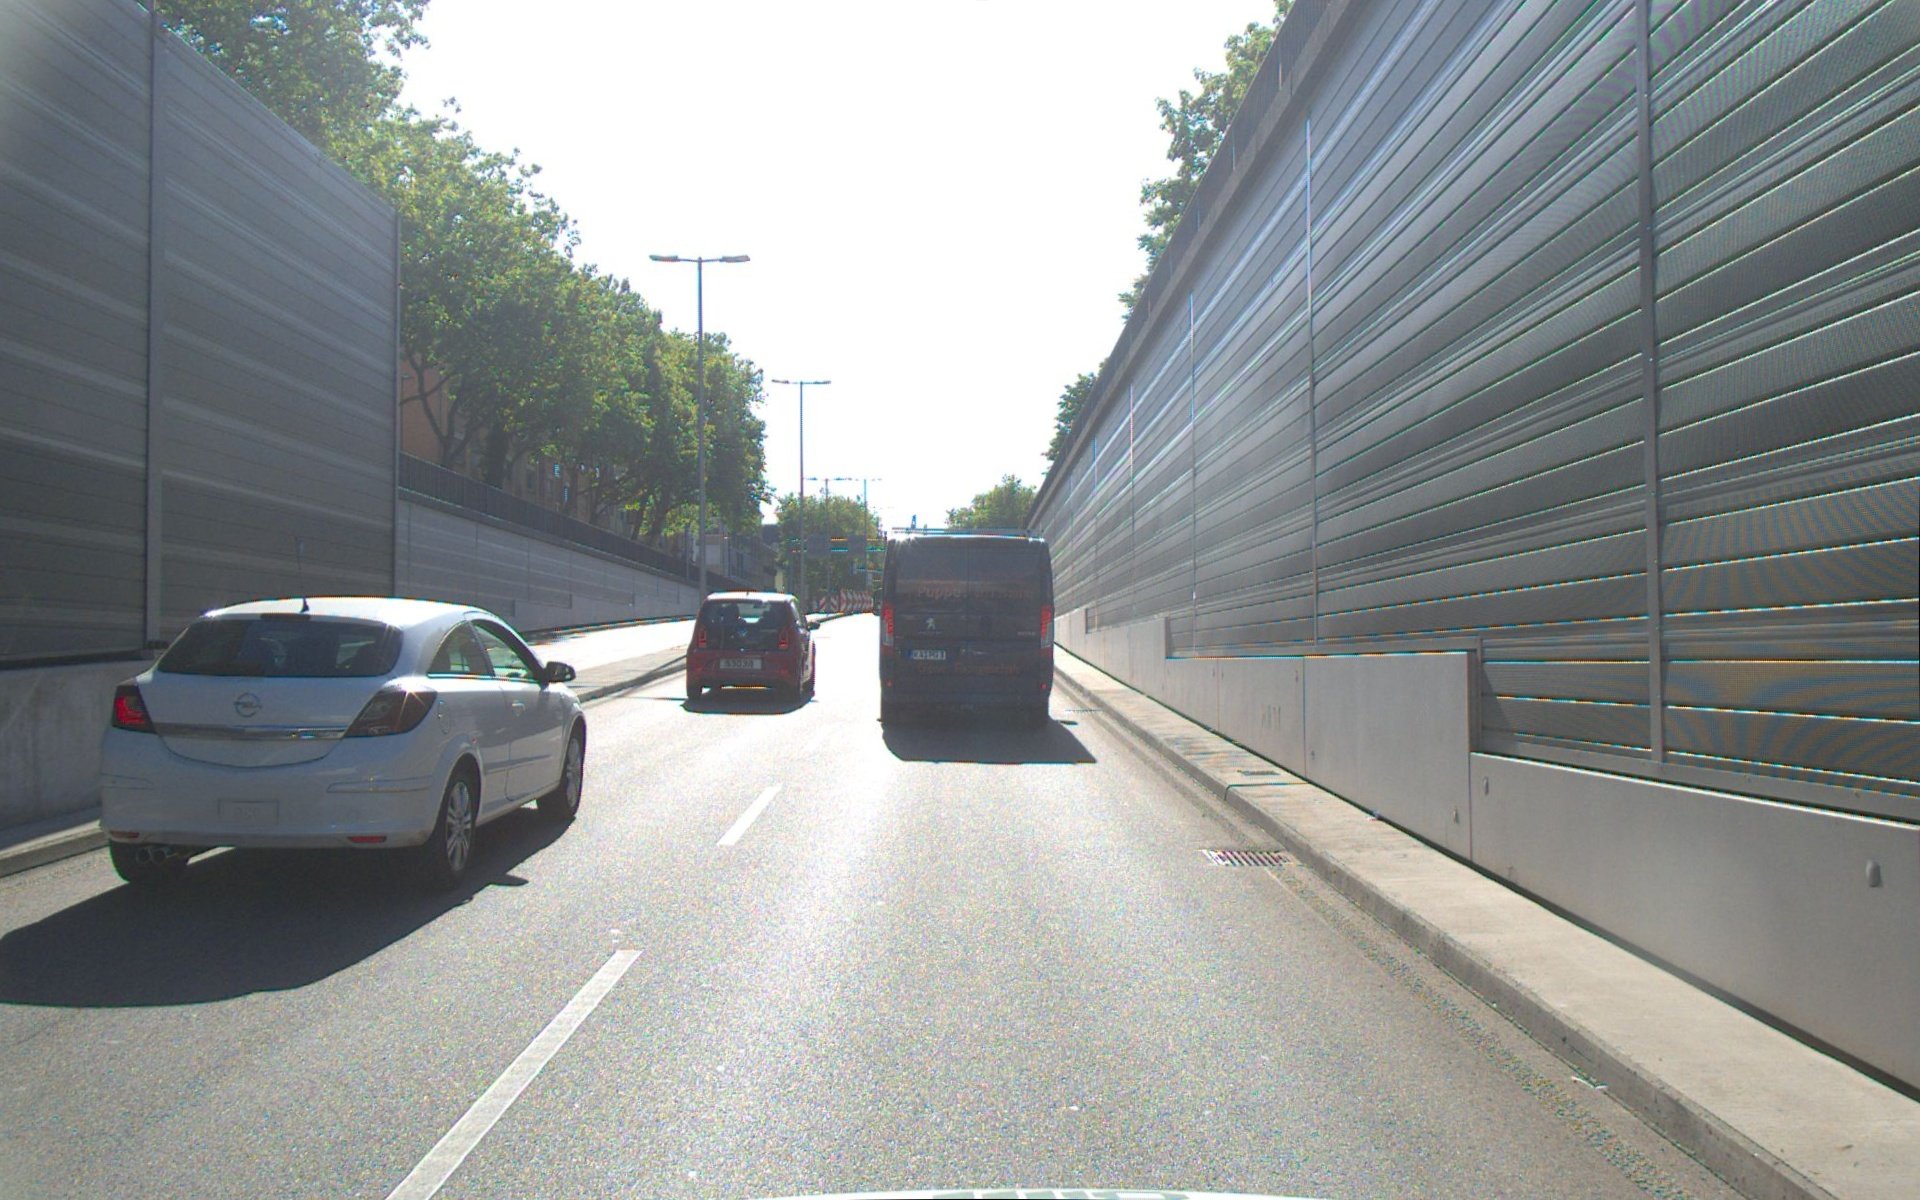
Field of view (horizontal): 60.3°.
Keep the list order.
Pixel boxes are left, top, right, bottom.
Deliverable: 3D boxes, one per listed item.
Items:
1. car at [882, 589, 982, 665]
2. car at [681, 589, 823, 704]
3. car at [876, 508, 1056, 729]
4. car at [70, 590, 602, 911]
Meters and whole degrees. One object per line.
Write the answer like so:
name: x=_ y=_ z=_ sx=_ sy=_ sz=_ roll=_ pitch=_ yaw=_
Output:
car: x=-0.544 y=0.544 z=35.655 sx=1.852 sy=1.500 sz=3.992 roll=1 pitch=0 yaw=3
car: x=-2.932 y=0.616 z=23.901 sx=1.654 sy=1.509 sz=3.318 roll=1 pitch=0 yaw=-1
car: x=0.058 y=0.222 z=20.439 sx=1.988 sy=2.444 sz=3.972 roll=0 pitch=-1 yaw=0
car: x=-3.255 y=0.698 z=9.456 sx=1.586 sy=1.428 sz=3.851 roll=1 pitch=0 yaw=-1
